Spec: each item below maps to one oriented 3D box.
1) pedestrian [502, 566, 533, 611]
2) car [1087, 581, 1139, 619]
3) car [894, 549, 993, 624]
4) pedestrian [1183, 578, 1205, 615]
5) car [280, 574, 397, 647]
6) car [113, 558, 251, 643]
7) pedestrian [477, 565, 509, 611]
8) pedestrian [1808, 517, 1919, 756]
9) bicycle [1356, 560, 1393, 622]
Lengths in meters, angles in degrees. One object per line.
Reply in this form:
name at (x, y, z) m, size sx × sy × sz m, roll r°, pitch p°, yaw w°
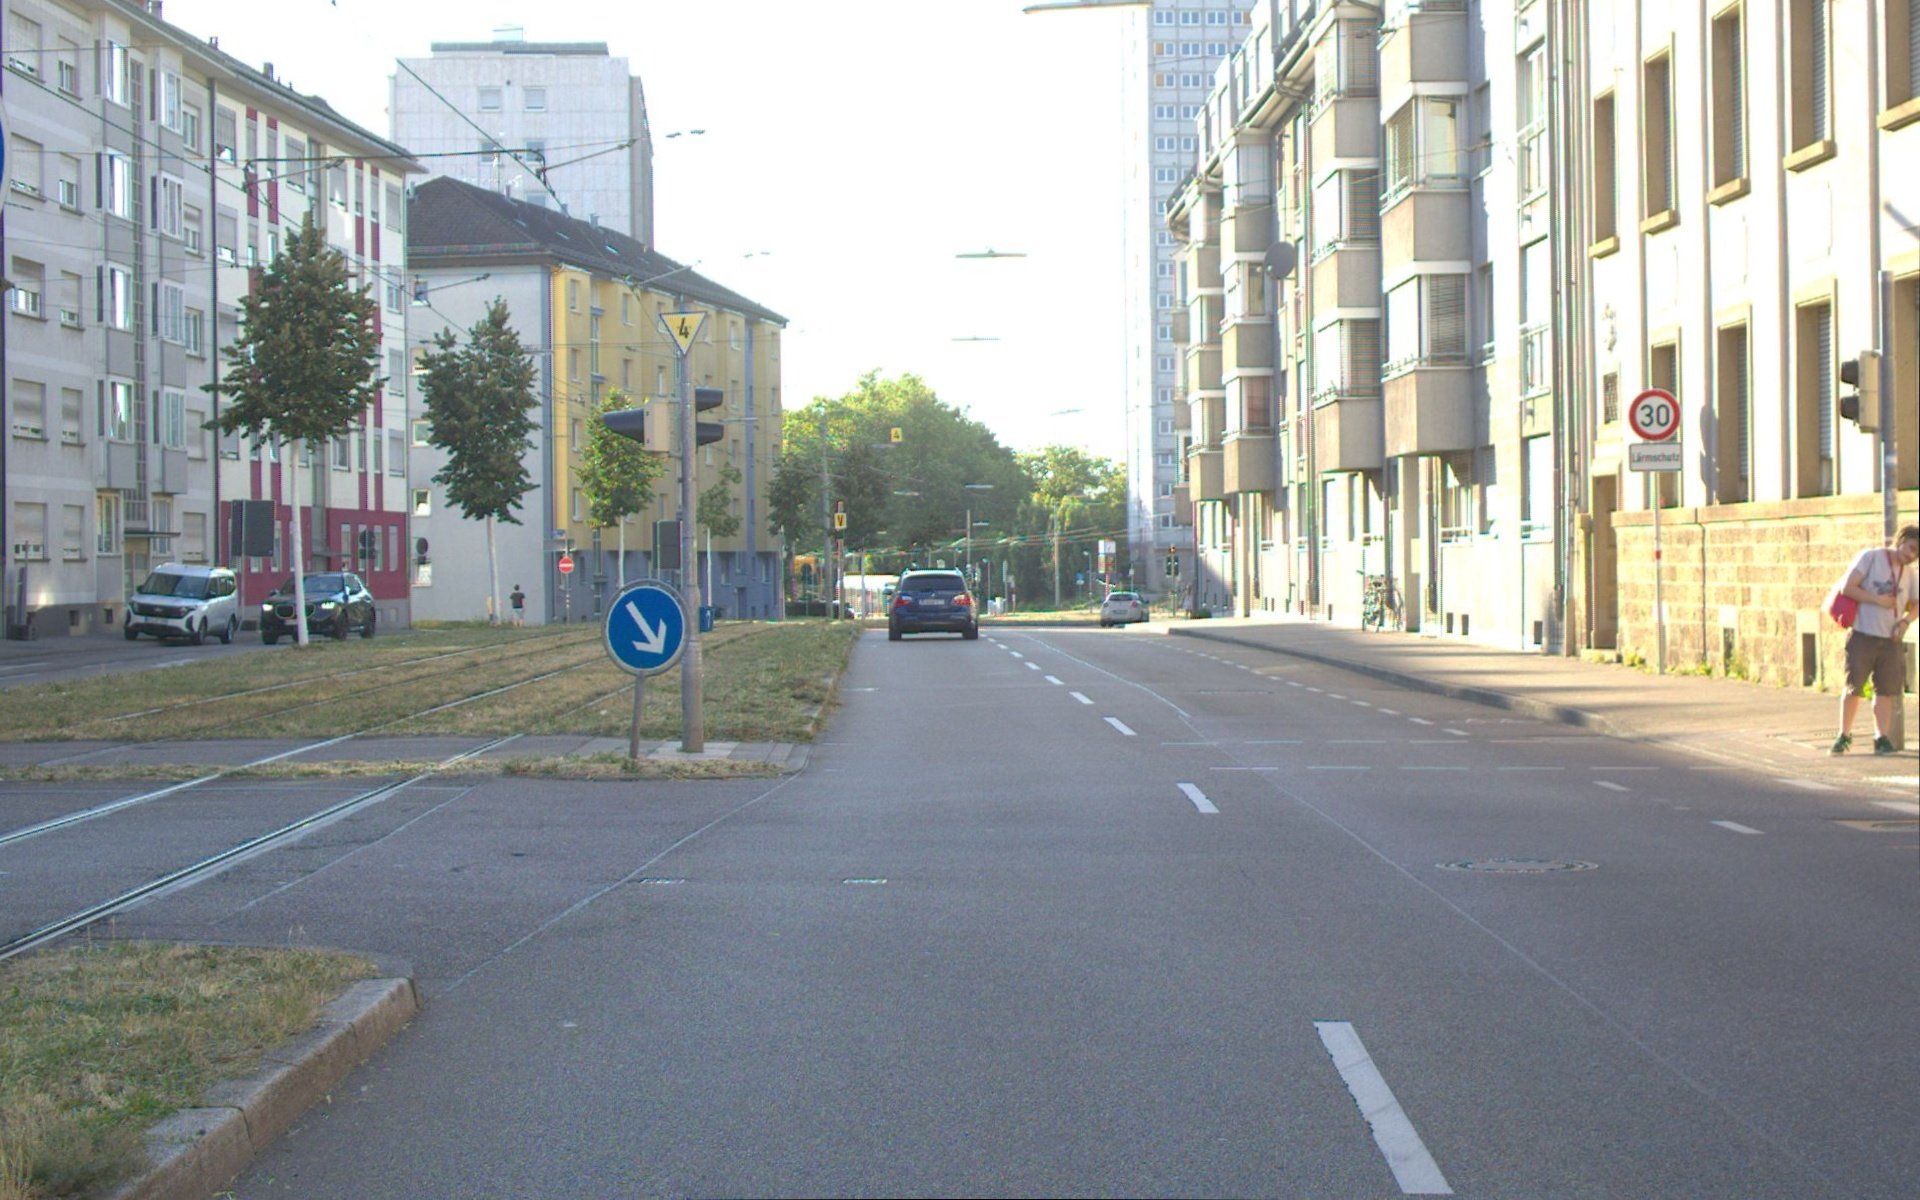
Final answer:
pedestrian at (-16.624, -0.442, 129.252) m, size 0.962 × 1.664 × 1.011 m, roll 1°, pitch 0°, yaw 5°
car at (6.361, -0.007, 142.926) m, size 1.993 × 1.558 × 4.000 m, roll 1°, pitch 0°, yaw 1°
car at (-0.317, -0.271, 69.812) m, size 1.926 × 1.451 × 4.327 m, roll 1°, pitch 0°, yaw 0°
pedestrian at (7.895, -0.111, 116.172) m, size 0.691 × 1.230 × 0.736 m, roll 1°, pitch 0°, yaw 0°
car at (-14.625, 0.229, 81.166) m, size 1.897 × 1.628 × 4.747 m, roll -1°, pitch 0°, yaw 0°
car at (-18.305, 0.004, 81.045) m, size 1.994 × 1.918 × 4.541 m, roll 1°, pitch 0°, yaw 3°
pedestrian at (-17.488, -0.451, 128.721) m, size 0.962 × 1.688 × 1.011 m, roll 1°, pitch 0°, yaw 5°
pedestrian at (6.878, 0.269, 25.741) m, size 0.835 × 1.756 × 0.824 m, roll 1°, pitch 0°, yaw -1°
bicycle at (7.425, -0.159, 61.586) m, size 0.383 × 1.092 × 1.504 m, roll -1°, pitch 0°, yaw -3°
